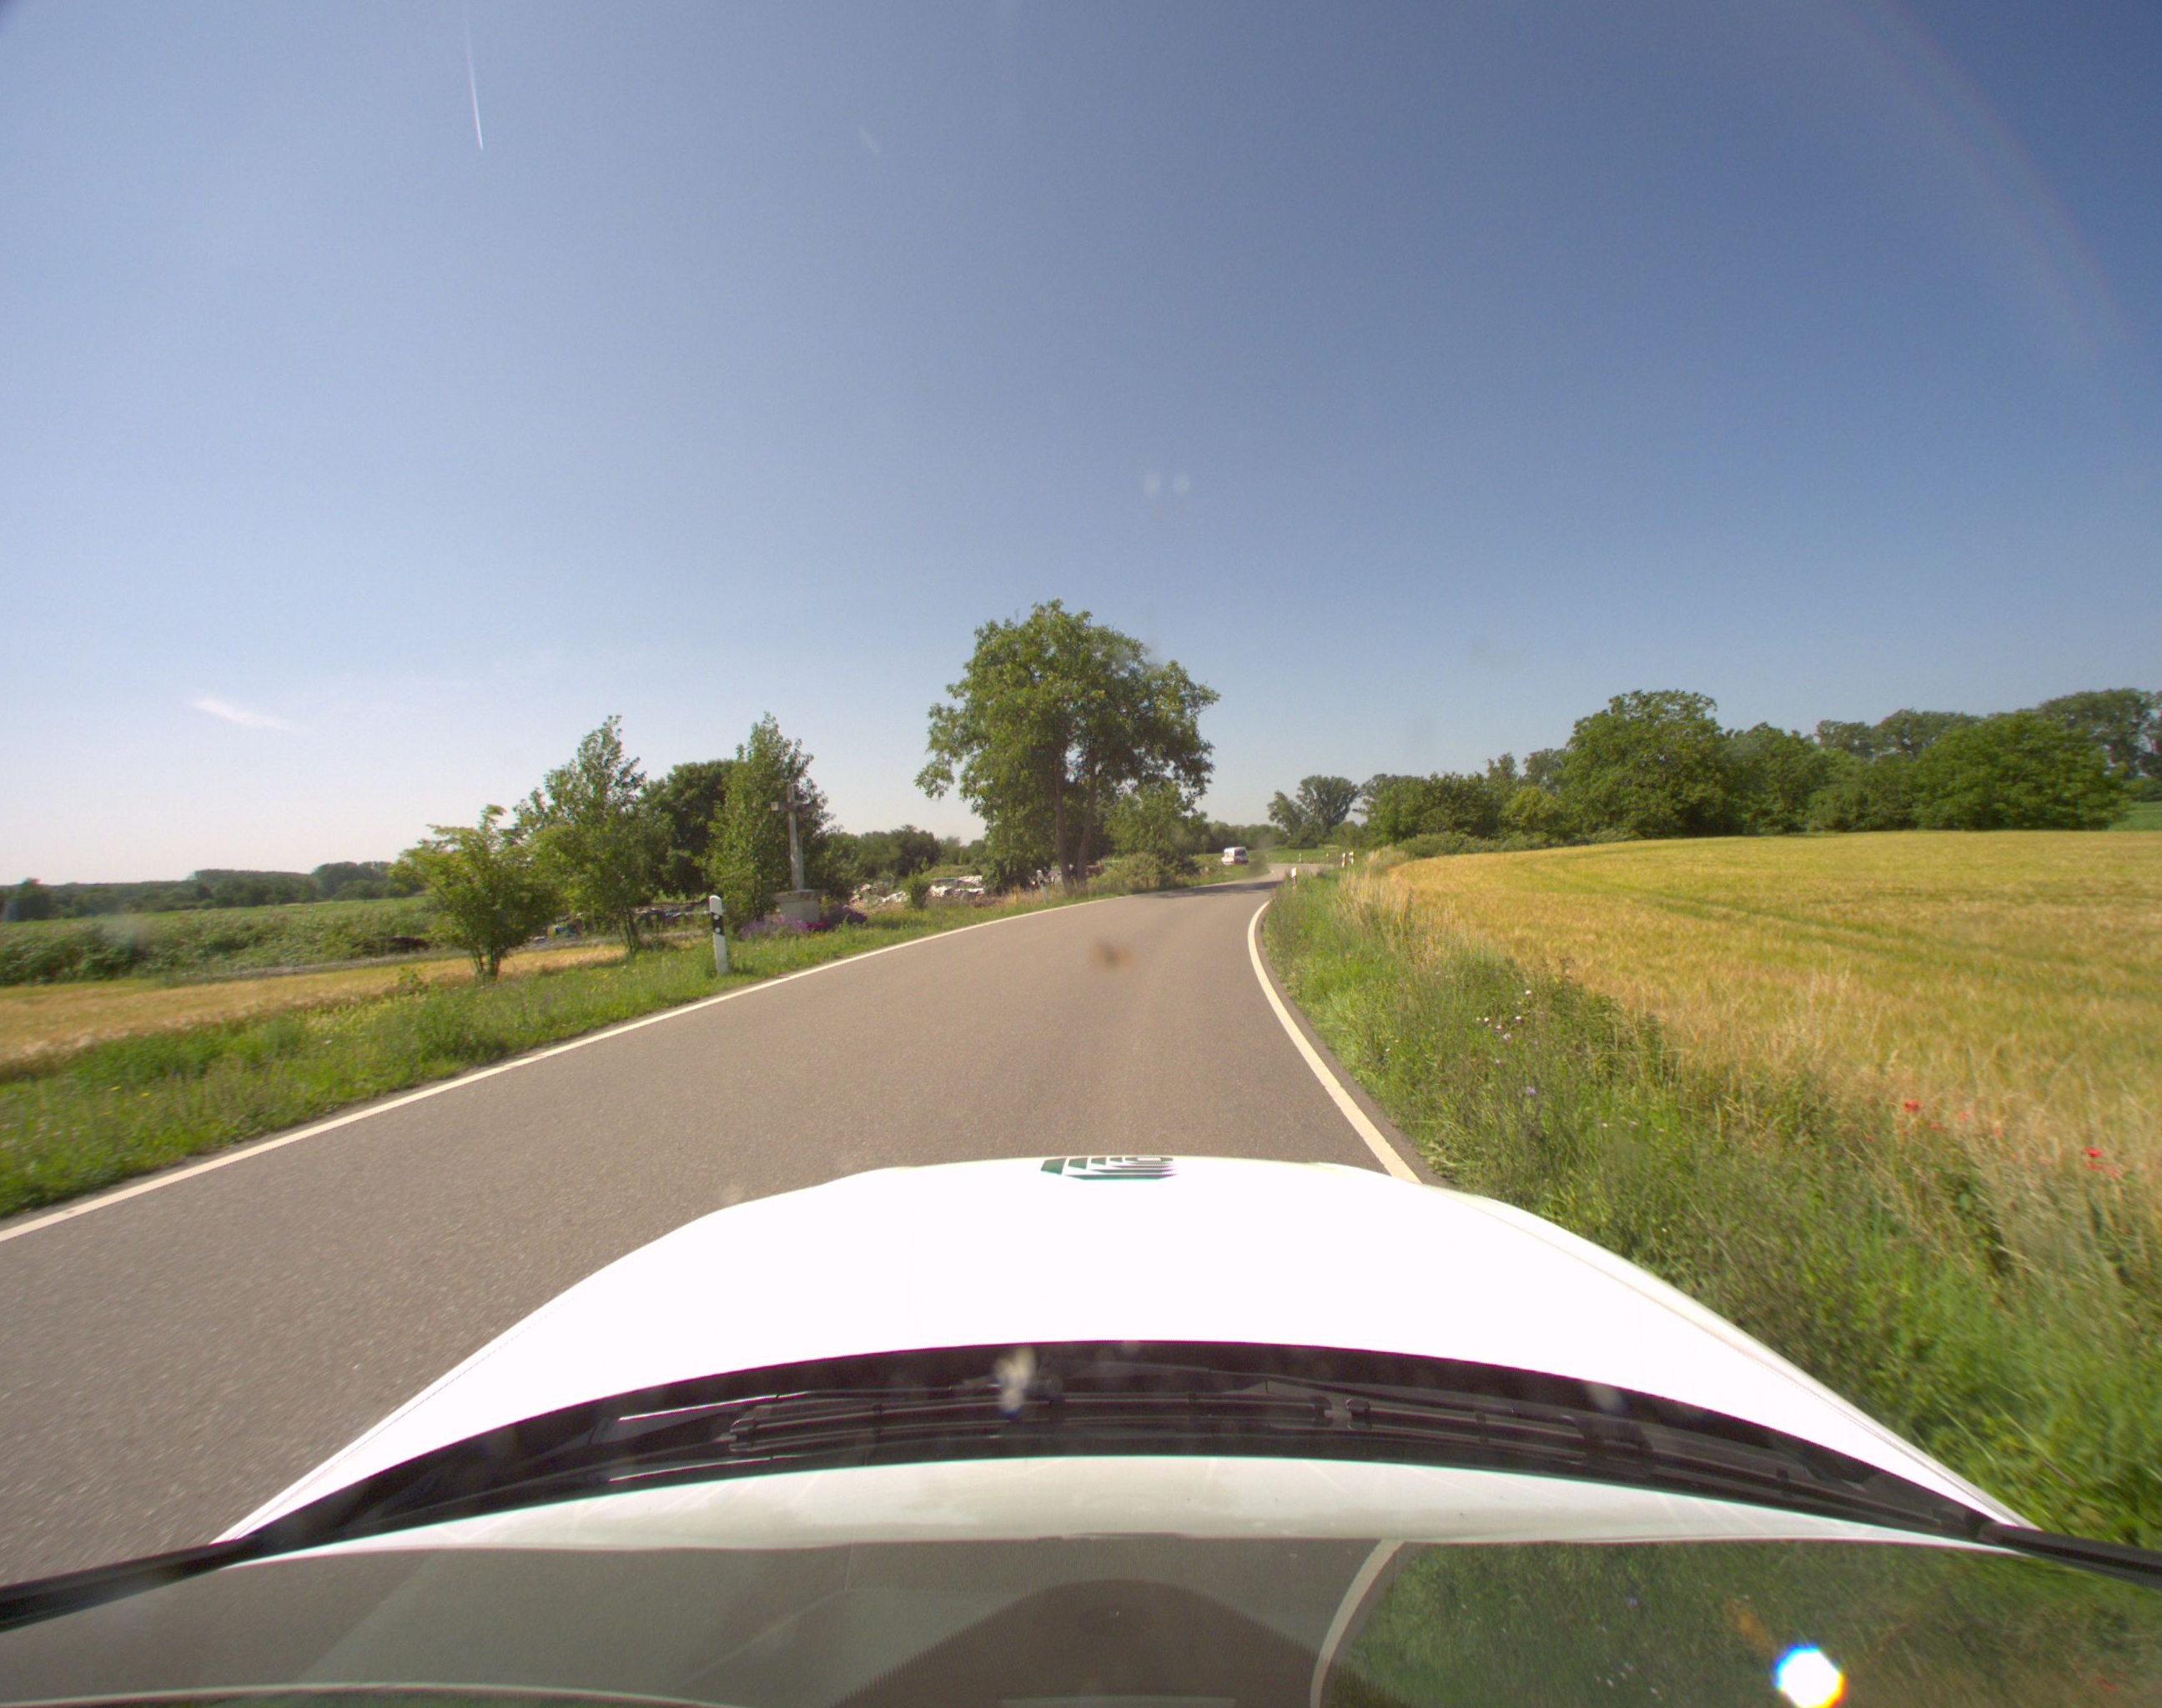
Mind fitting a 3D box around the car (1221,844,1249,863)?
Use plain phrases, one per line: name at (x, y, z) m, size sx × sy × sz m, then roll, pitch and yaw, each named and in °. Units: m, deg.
car at (20.846, -0.052, 110.433) m, size 2.102 × 2.367 × 5.672 m, roll -3°, pitch 0°, yaw -7°
